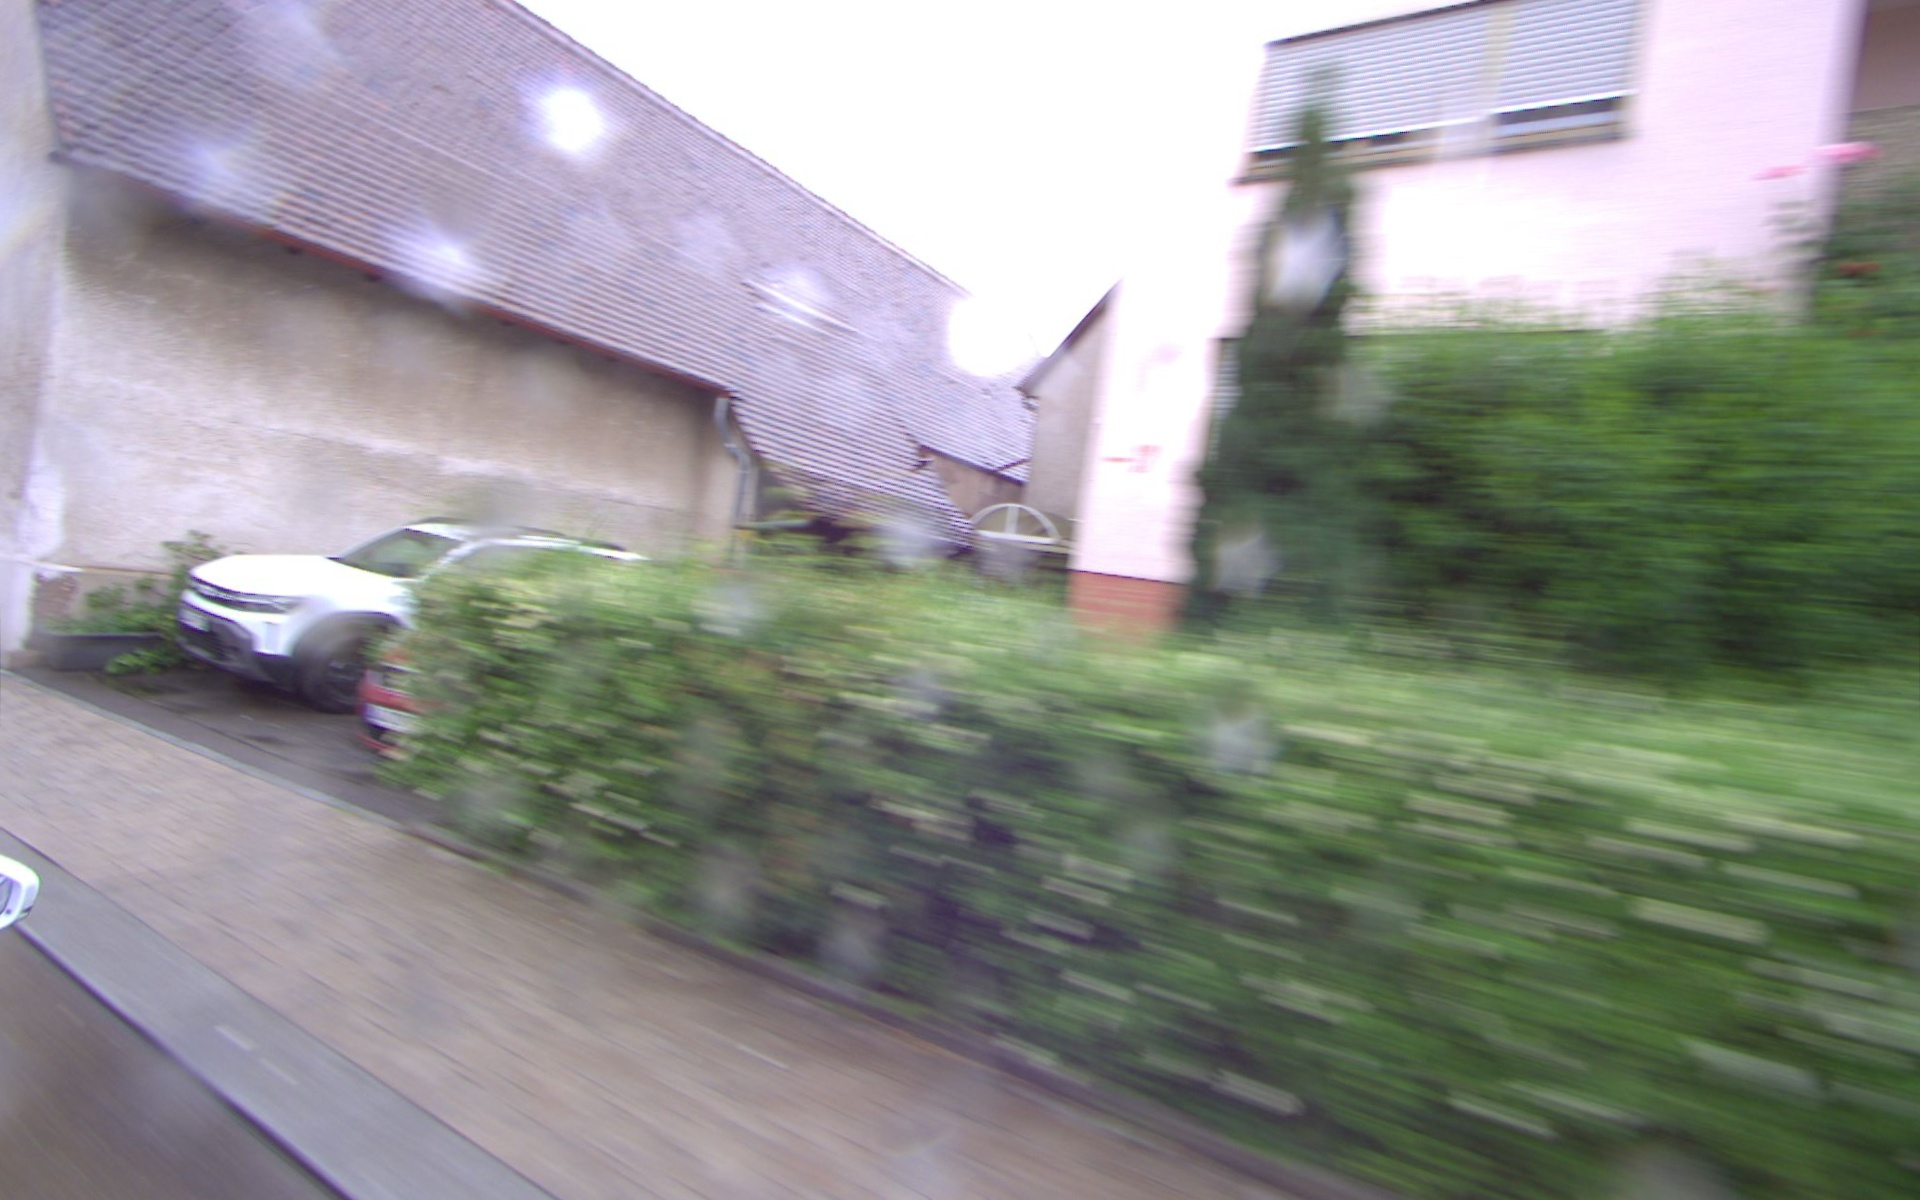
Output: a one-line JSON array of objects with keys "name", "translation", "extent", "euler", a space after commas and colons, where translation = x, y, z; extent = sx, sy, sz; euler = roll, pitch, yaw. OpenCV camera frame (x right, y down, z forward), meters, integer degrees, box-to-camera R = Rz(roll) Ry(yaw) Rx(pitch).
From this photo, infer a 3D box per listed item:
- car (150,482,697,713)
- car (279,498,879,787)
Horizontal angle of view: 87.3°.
[{"name": "car", "translation": [-4.893, 0.050, 9.776], "extent": [1.873, 1.670, 4.217], "euler": [7, 1, 35]}, {"name": "car", "translation": [-2.644, 0.400, 8.002], "extent": [1.767, 1.585, 4.119], "euler": [7, -2, 31]}]
